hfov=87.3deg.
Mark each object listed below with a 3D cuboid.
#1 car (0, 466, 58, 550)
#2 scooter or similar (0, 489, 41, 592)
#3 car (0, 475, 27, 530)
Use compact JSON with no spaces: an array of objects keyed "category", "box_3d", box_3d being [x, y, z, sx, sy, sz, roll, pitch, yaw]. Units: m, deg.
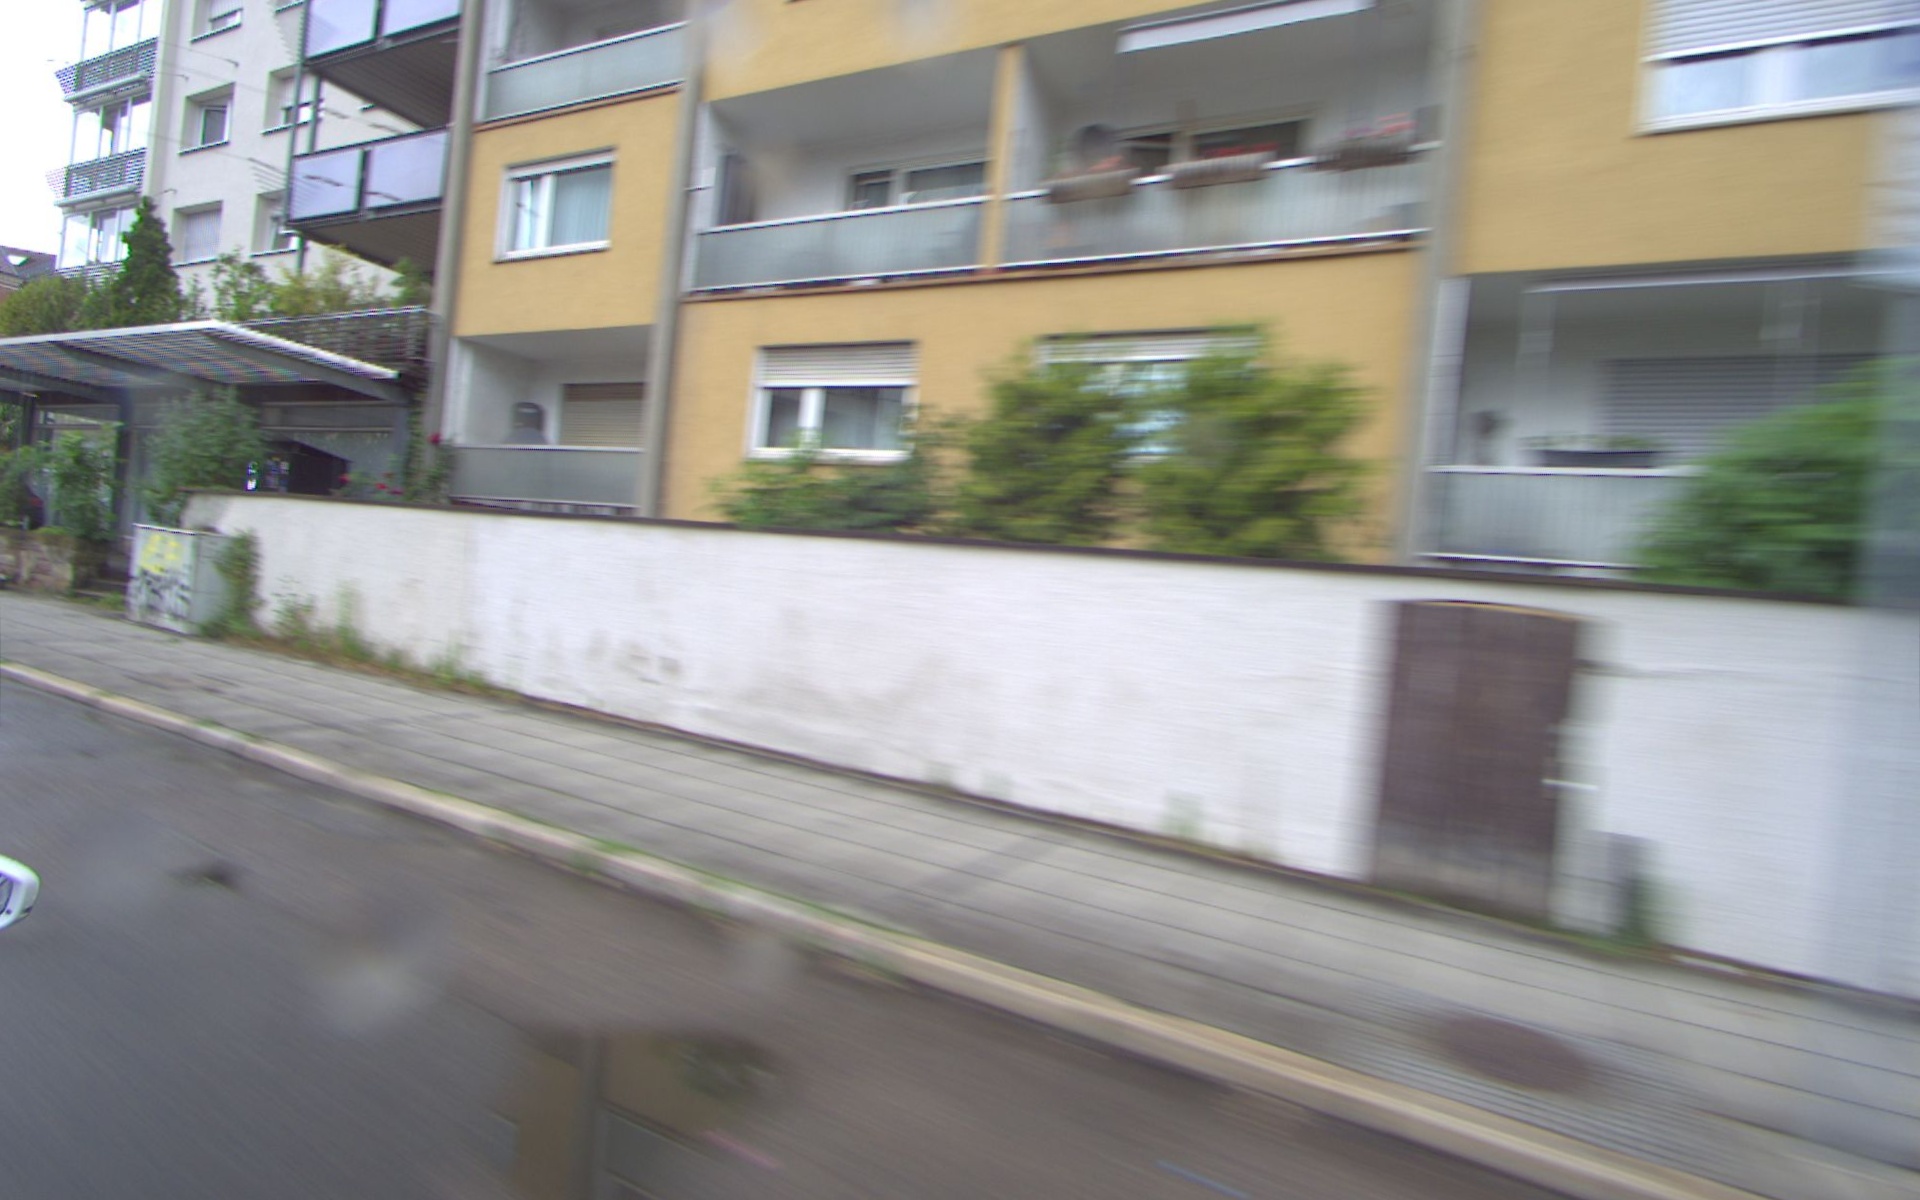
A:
[{"category":"car","box_3d":[-19.916,-1.924,19.813,4.373,1.523,1.854,5,2,29]},{"category":"scooter or similar","box_3d":[-13.545,-0.866,14.082,1.630,1.346,0.534,7,5,29]},{"category":"car","box_3d":[-27.531,-2.733,26.868,1.973,1.476,4.427,8,3,-17]}]
